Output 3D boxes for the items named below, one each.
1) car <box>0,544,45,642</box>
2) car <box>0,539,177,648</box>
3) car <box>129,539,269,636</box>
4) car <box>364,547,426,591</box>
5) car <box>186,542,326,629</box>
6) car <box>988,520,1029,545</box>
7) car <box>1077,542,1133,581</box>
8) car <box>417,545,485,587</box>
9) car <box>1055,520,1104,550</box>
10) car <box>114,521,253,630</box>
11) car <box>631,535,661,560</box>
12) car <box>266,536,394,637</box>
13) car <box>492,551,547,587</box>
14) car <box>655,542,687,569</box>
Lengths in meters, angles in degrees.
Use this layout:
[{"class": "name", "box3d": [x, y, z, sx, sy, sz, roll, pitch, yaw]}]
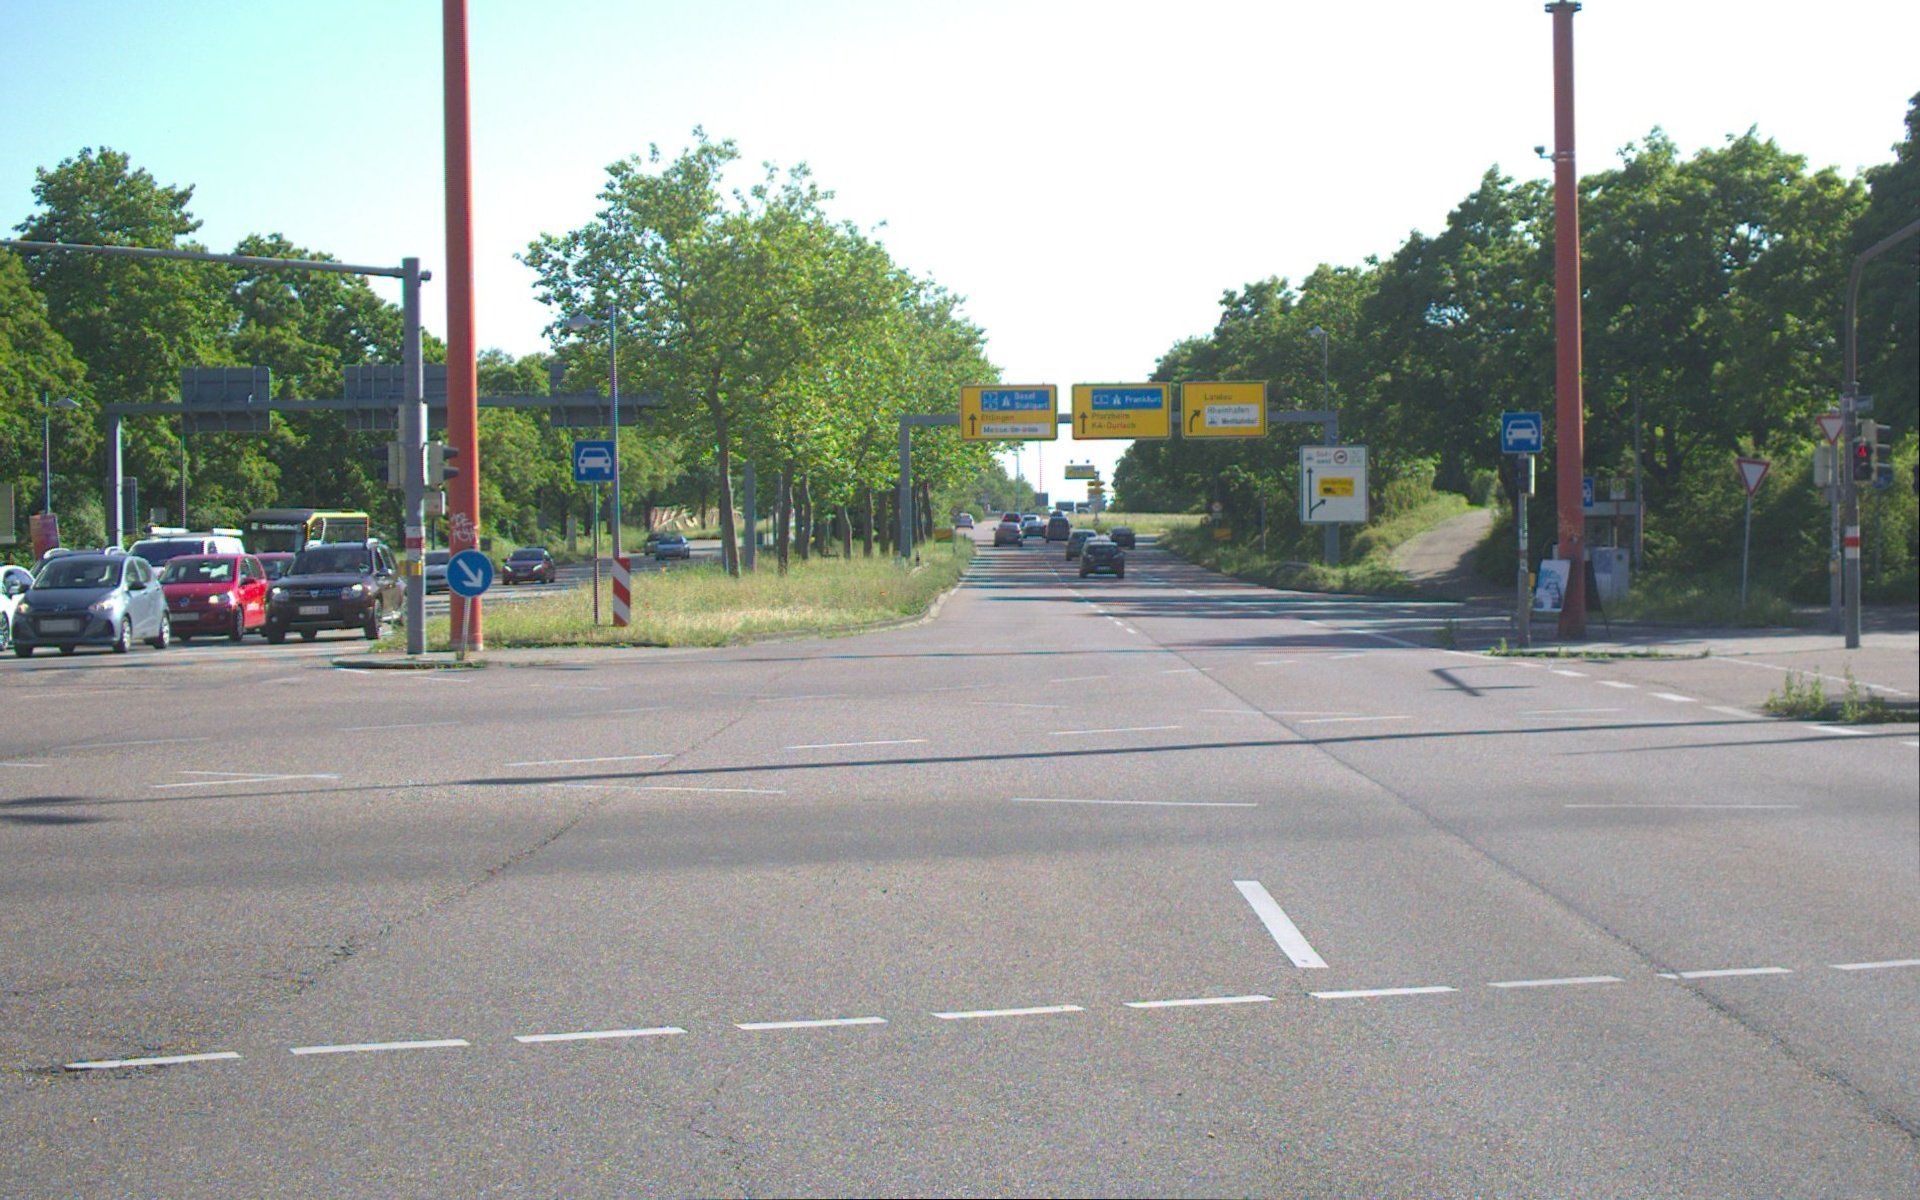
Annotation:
[{"class": "car", "box3d": [-16.487, -0.119, 57.045, 1.993, 1.568, 4.122, -2, 1, -8]}, {"class": "car", "box3d": [-13.252, -0.133, 52.175, 1.993, 1.568, 4.121, -1, 1, -3]}, {"class": "car", "box3d": [-12.897, -0.236, 58.477, 1.993, 1.568, 4.122, -1, 1, -8]}, {"class": "car", "box3d": [-20.570, -1.135, 125.271, 1.876, 1.568, 4.121, -1, 1, -5]}, {"class": "car", "box3d": [-13.114, -0.297, 64.256, 1.993, 1.568, 4.121, -1, 1, -4]}, {"class": "car", "box3d": [3.172, -4.428, 226.189, 2.245, 1.568, 4.282, -1, 1, -5]}, {"class": "car", "box3d": [5.902, -1.578, 140.368, 2.159, 1.568, 4.281, -1, 1, 1]}, {"class": "car", "box3d": [-18.190, -1.214, 122.991, 1.884, 1.449, 3.656, -1, 1, 0]}, {"class": "car", "box3d": [6.381, -3.471, 184.280, 2.158, 1.568, 4.281, -1, 1, -4]}, {"class": "car", "box3d": [-16.112, -0.530, 71.517, 2.062, 2.185, 4.379, -1, 1, -2]}, {"class": "car", "box3d": [-20.430, -3.420, 223.954, 1.876, 1.568, 4.121, -1, 1, -5]}, {"class": "car", "box3d": [-10.246, -0.246, 56.156, 1.876, 1.568, 4.122, -1, 1, -8]}, {"class": "car", "box3d": [-18.155, -1.291, 141.823, 1.821, 1.449, 3.656, -1, 1, 0]}, {"class": "car", "box3d": [-17.212, -2.668, 204.928, 1.876, 1.568, 3.948, -1, 1, -5]}]
